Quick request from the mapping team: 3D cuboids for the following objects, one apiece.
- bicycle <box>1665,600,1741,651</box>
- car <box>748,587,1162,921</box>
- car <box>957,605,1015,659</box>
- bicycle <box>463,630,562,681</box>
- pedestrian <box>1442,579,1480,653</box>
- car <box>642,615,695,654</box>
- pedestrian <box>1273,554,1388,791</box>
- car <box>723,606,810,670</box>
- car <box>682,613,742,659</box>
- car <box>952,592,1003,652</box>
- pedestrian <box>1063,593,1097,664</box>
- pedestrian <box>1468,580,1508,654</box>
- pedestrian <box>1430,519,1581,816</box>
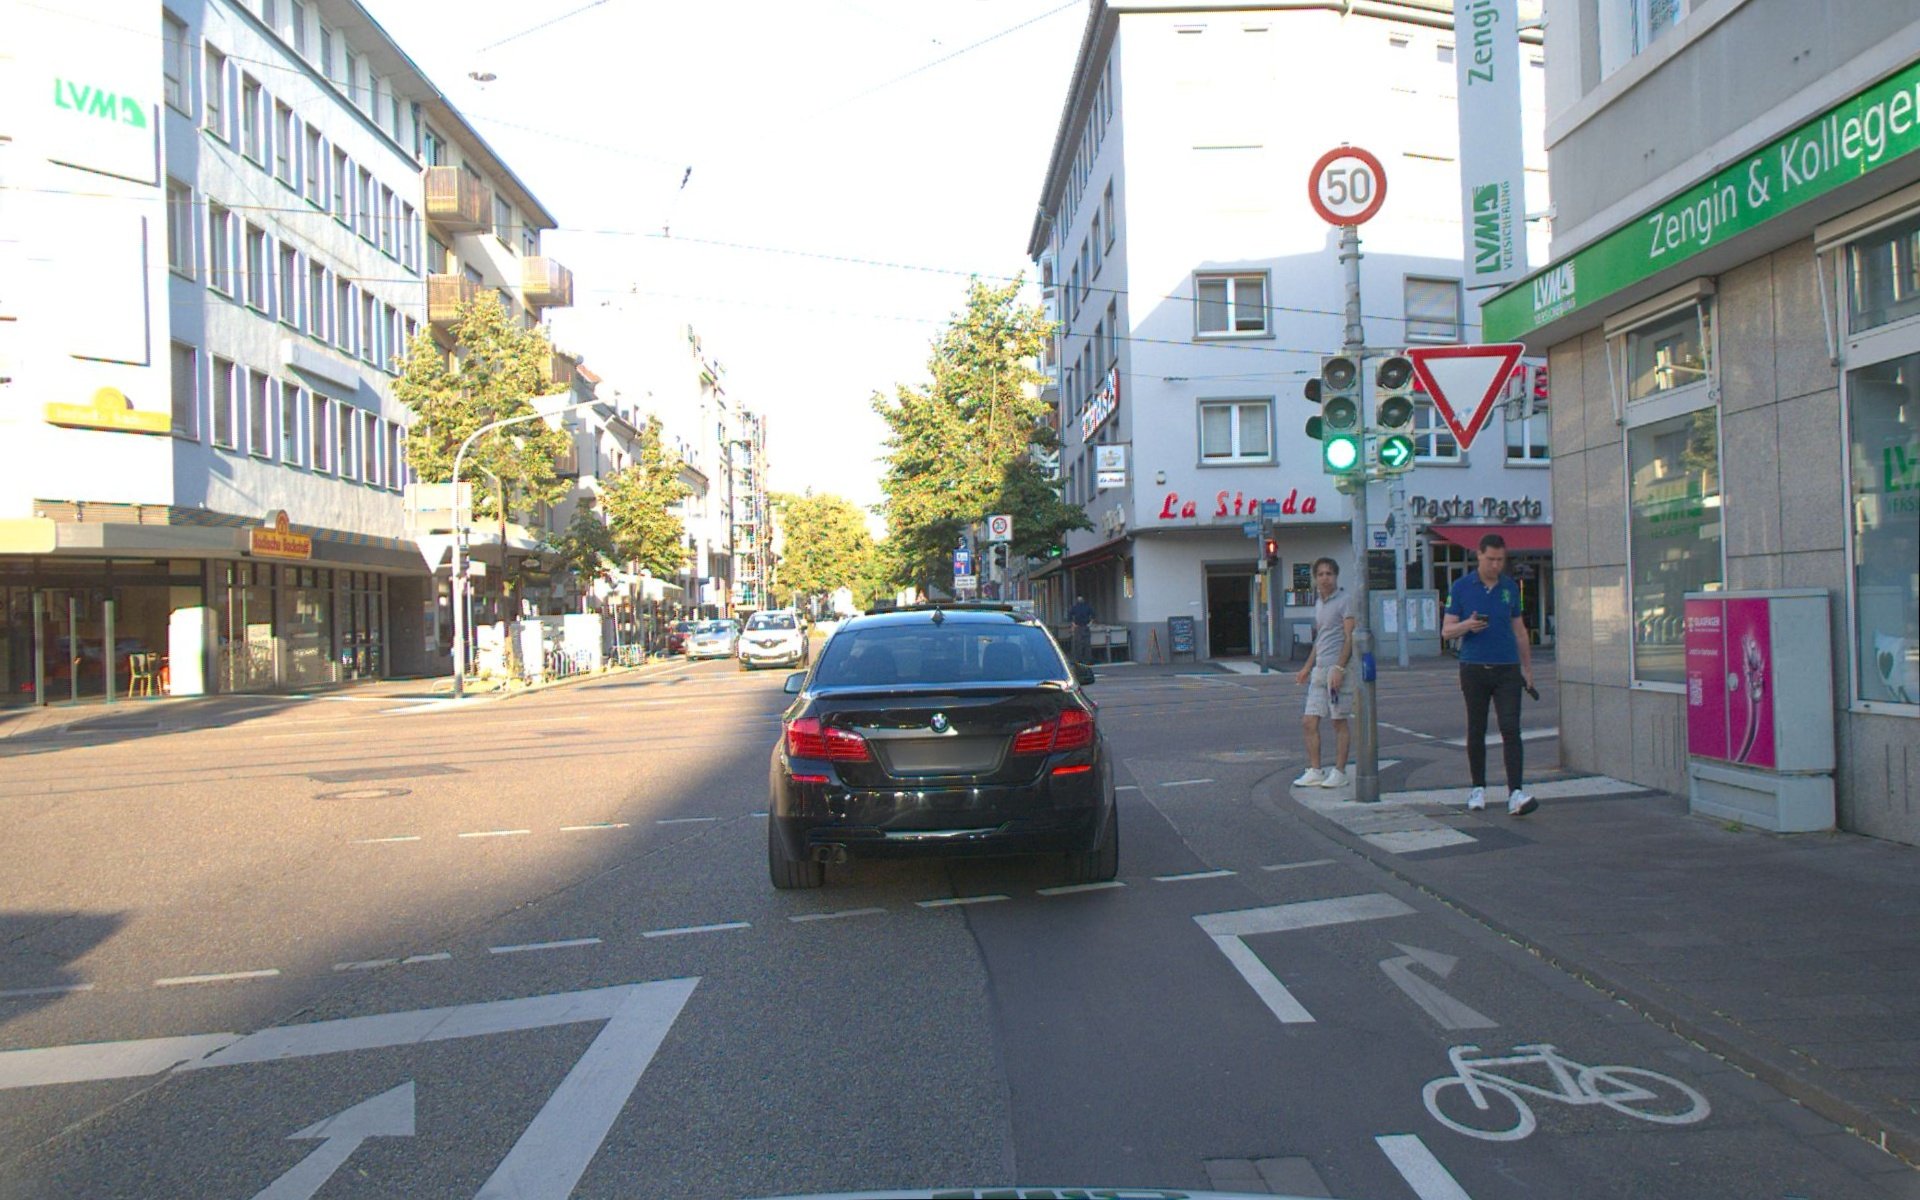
[{"bbox_3d":[18.901,0.638,42.086,0.544,1.232,1.882,-1,2,-25],"label":"bicycle"},{"bbox_3d":[-0.044,0.736,9.997,1.914,1.524,4.464,-1,0,-1],"label":"car"},{"bbox_3d":[0.764,0.924,48.756,1.606,1.469,3.607,-2,-1,1],"label":"car"},{"bbox_3d":[-11.179,1.380,41.352,2.321,1.275,0.639,0,-1,-7],"label":"bicycle"},{"bbox_3d":[12.382,0.401,40.870,0.593,1.810,0.630,-1,-1,-36],"label":"pedestrian"},{"bbox_3d":[-12.851,1.513,73.096,1.798,1.583,3.777,-3,-1,-3],"label":"car"},{"bbox_3d":[2.879,0.552,12.901,0.639,1.773,0.693,-2,-1,-6],"label":"pedestrian"},{"bbox_3d":[-5.263,1.036,45.451,2.066,1.583,4.009,-3,-1,-3],"label":"car"},{"bbox_3d":[-9.072,1.297,60.761,1.798,1.583,3.777,-2,0,-3],"label":"car"},{"bbox_3d":[0.600,0.704,55.434,1.606,1.906,3.607,1,0,1],"label":"car"},{"bbox_3d":[2.942,0.698,40.501,0.697,1.706,0.702,-1,0,-5],"label":"pedestrian"},{"bbox_3d":[12.857,0.419,40.252,0.662,1.775,0.629,-1,-1,-39],"label":"pedestrian"},{"bbox_3d":[3.591,0.430,10.956,0.676,1.859,0.881,-3,-1,5],"label":"pedestrian"}]
